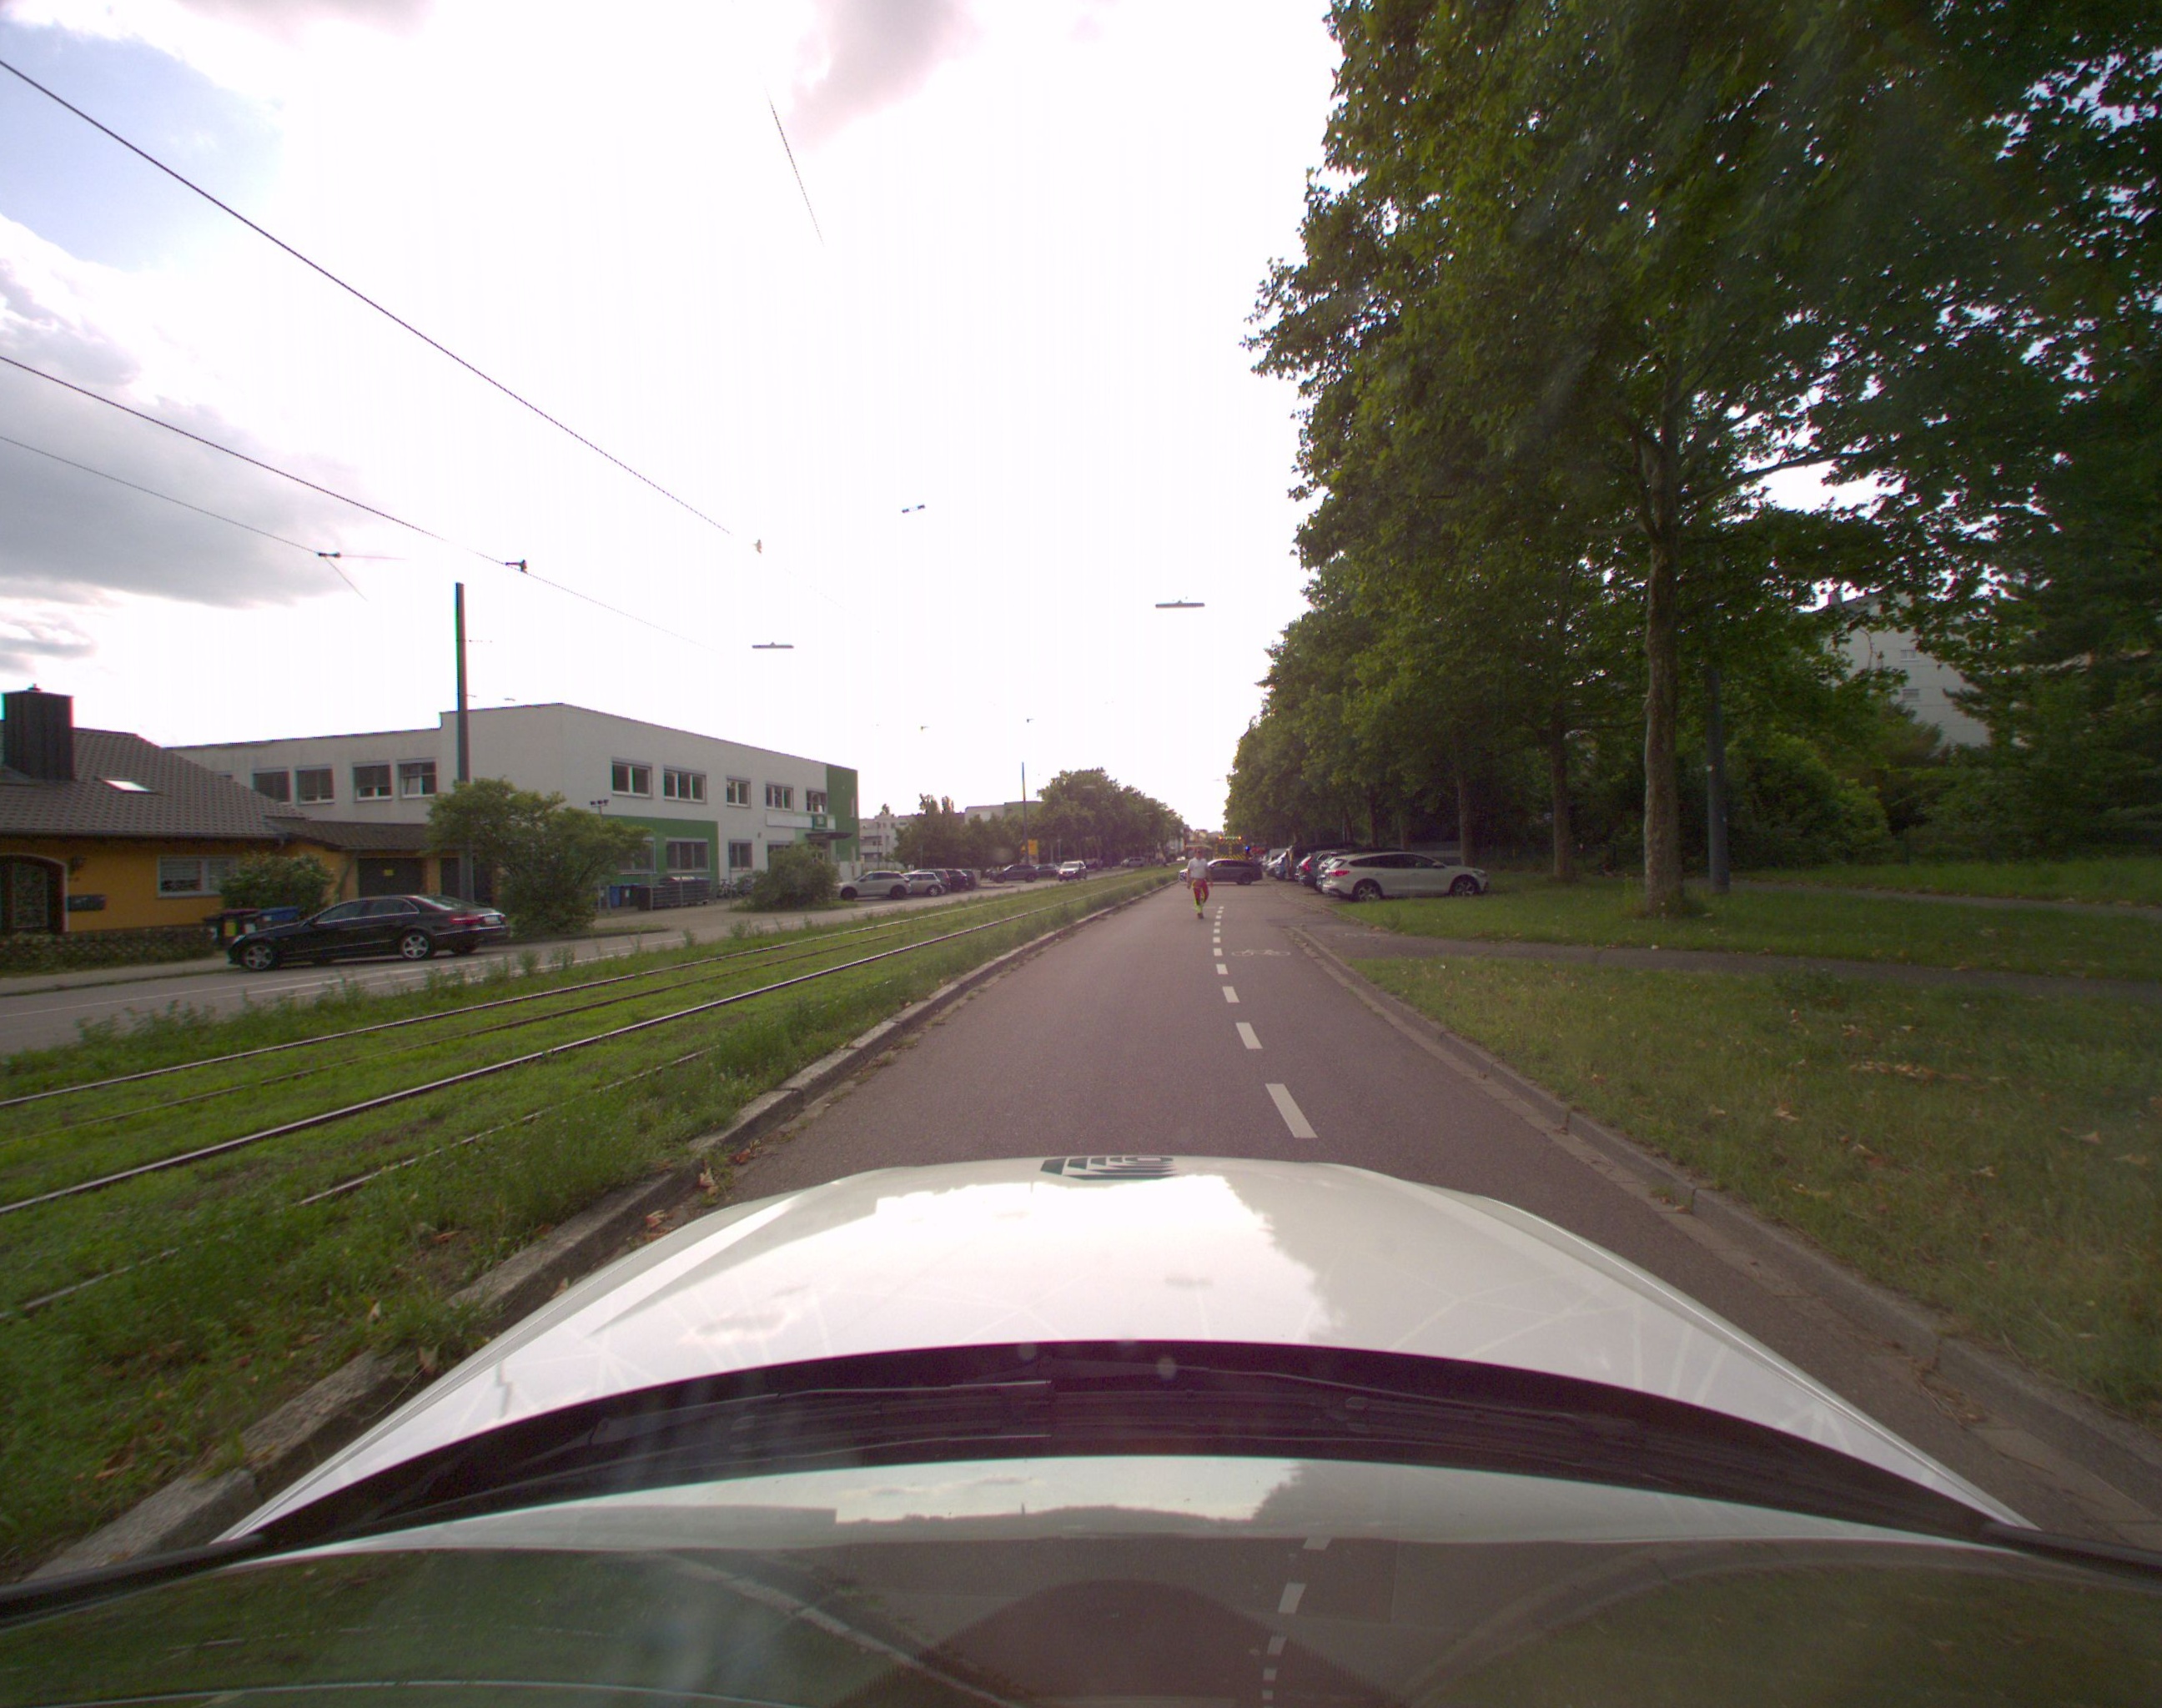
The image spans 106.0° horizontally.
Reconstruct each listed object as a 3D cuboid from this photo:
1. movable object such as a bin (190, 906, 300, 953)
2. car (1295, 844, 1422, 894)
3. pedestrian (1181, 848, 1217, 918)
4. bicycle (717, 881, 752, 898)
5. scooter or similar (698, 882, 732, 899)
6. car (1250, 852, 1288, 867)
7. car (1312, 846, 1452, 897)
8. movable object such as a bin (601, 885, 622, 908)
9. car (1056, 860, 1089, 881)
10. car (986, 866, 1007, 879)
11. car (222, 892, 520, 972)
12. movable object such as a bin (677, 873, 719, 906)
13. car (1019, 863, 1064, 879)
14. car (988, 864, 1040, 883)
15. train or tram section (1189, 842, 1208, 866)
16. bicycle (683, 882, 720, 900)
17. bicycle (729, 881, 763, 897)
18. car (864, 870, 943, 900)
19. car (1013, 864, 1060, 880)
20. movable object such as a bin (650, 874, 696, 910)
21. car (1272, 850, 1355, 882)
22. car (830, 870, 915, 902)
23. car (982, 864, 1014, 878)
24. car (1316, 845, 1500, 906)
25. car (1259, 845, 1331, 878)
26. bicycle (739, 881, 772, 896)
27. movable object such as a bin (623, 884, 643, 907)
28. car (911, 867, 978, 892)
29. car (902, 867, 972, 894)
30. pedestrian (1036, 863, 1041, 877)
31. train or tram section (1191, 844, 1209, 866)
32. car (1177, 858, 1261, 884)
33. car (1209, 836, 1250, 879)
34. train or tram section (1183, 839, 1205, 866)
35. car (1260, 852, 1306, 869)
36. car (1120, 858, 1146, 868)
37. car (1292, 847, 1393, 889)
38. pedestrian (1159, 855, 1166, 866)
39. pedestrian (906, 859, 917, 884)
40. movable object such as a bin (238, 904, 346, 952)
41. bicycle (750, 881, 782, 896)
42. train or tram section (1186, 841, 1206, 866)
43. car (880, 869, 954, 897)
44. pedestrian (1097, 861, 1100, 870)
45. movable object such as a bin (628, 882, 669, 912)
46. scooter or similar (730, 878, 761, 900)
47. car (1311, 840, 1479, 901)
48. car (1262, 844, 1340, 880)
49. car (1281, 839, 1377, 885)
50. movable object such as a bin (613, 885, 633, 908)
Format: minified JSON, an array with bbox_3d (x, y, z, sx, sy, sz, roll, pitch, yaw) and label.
[{"bbox_3d":[-22.580,2.025,22.044,1.246,1.092,1.622,-2,0,10],"label":"movable object such as a bin"},{"bbox_3d":[10.535,0.567,31.220,4.351,1.639,1.762,-3,-1,12],"label":"car"},{"bbox_3d":[2.956,0.710,20.335,0.798,1.686,0.853,-2,-1,11],"label":"pedestrian"},{"bbox_3d":[-19.613,2.010,46.087,1.846,0.899,0.460,-1,-1,11],"label":"bicycle"},{"bbox_3d":[-20.030,2.004,44.607,1.724,0.899,0.460,-1,-1,11],"label":"scooter or similar"},{"bbox_3d":[23.870,0.739,103.642,4.521,1.608,1.859,-3,-1,6],"label":"car"},{"bbox_3d":[10.430,0.601,28.544,4.351,1.501,1.762,-3,-1,12],"label":"car"},{"bbox_3d":[-21.744,1.970,37.721,0.564,1.042,0.566,-1,0,11],"label":"movable object such as a bin"},{"bbox_3d":[-0.682,1.395,69.804,1.981,1.558,4.382,-4,-1,10],"label":"car"},{"bbox_3d":[-12.481,2.720,120.651,1.981,1.750,4.012,0,0,11],"label":"car"},{"bbox_3d":[-15.520,1.666,18.077,4.635,1.407,1.877,-2,-2,-10],"label":"car"},{"bbox_3d":[-18.232,1.678,38.832,0.999,1.519,1.610,-1,1,13],"label":"movable object such as a bin"},{"bbox_3d":[-4.050,1.730,83.367,4.242,1.482,1.868,-1,-1,-25],"label":"car"},{"bbox_3d":[-5.767,1.674,70.378,4.227,1.482,1.874,-1,-1,-14],"label":"car"},{"bbox_3d":[18.788,0.113,130.203,2.496,3.584,7.466,-4,-2,10],"label":"train or tram section"},{"bbox_3d":[-20.092,1.957,43.097,1.846,0.986,0.460,-1,-1,11],"label":"bicycle"},{"bbox_3d":[-19.419,2.030,47.219,1.846,0.899,0.460,-1,-1,11],"label":"bicycle"},{"bbox_3d":[-10.325,1.774,47.348,4.234,1.482,1.871,-2,-1,-19],"label":"car"},{"bbox_3d":[-4.410,1.751,80.405,4.242,1.482,1.868,-1,-1,-25],"label":"car"},{"bbox_3d":[-18.598,1.706,37.169,0.999,1.519,1.718,-1,1,13],"label":"movable object such as a bin"},{"bbox_3d":[13.921,0.722,48.967,4.522,1.660,1.859,-3,-1,6],"label":"car"},{"bbox_3d":[-11.339,1.710,44.319,4.240,1.482,1.868,-2,-1,-24],"label":"car"},{"bbox_3d":[-10.721,2.201,105.591,3.949,1.750,2.012,0,0,42],"label":"car"},{"bbox_3d":[9.425,0.610,23.791,4.633,1.473,1.851,-3,-1,7],"label":"car"},{"bbox_3d":[14.695,0.518,56.099,4.521,2.043,1.859,-3,-1,6],"label":"car"},{"bbox_3d":[-19.237,2.046,48.104,1.846,0.899,0.460,-1,-1,11],"label":"bicycle"},{"bbox_3d":[-21.463,1.974,39.014,0.564,1.042,0.566,-1,0,11],"label":"movable object such as a bin"},{"bbox_3d":[-9.437,1.753,56.252,4.234,1.482,1.871,-2,-1,-19],"label":"car"},{"bbox_3d":[-9.415,1.717,53.132,4.234,1.482,1.871,-2,-1,-19],"label":"car"},{"bbox_3d":[-5.209,1.933,100.706,0.463,1.677,0.605,-2,-1,9],"label":"pedestrian"},{"bbox_3d":[20.158,0.242,137.505,2.496,3.584,7.466,-4,-2,10],"label":"train or tram section"},{"bbox_3d":[7.715,0.938,45.752,4.440,1.385,1.766,0,0,-2],"label":"car"},{"bbox_3d":[10.800,0.255,58.887,2.623,2.966,6.320,1,0,12],"label":"car"},{"bbox_3d":[16.061,-0.145,115.536,2.496,3.584,7.466,-4,-2,10],"label":"train or tram section"},{"bbox_3d":[21.229,0.680,85.683,4.521,1.608,1.859,-3,-1,6],"label":"car"},{"bbox_3d":[10.150,1.762,158.018,4.640,1.633,1.866,-2,-1,-29],"label":"car"},{"bbox_3d":[11.709,0.622,36.636,3.953,1.605,1.756,-3,-1,0],"label":"car"},{"bbox_3d":[11.169,0.907,111.911,0.875,1.525,0.753,-1,-1,10],"label":"pedestrian"},{"bbox_3d":[-12.591,1.306,60.502,0.543,1.828,0.510,-2,-1,9],"label":"pedestrian"},{"bbox_3d":[-21.134,1.961,21.861,1.246,1.101,1.622,-2,0,10],"label":"movable object such as a bin"},{"bbox_3d":[-18.988,2.055,49.136,1.846,0.899,0.460,-1,-1,11],"label":"bicycle"},{"bbox_3d":[17.419,-0.016,122.864,2.496,3.584,7.466,-4,-2,10],"label":"train or tram section"},{"bbox_3d":[-10.096,1.775,50.192,4.234,1.482,1.871,-2,-1,-19],"label":"car"},{"bbox_3d":[2.837,1.901,132.573,0.419,1.473,0.468,-2,-1,6],"label":"pedestrian"},{"bbox_3d":[-18.937,1.856,35.664,0.999,1.234,1.261,-1,0,13],"label":"movable object such as a bin"},{"bbox_3d":[-18.314,1.879,44.487,1.290,1.156,1.101,-1,-2,39],"label":"scooter or similar"},{"bbox_3d":[9.899,0.525,25.976,4.633,1.626,1.851,-3,-1,7],"label":"car"},{"bbox_3d":[13.874,0.505,51.564,4.521,2.001,1.859,-3,-1,6],"label":"car"},{"bbox_3d":[12.871,0.407,42.559,4.517,2.123,1.861,-3,-1,10],"label":"car"},{"bbox_3d":[-21.589,1.981,38.360,0.564,1.042,0.566,-1,0,11],"label":"movable object such as a bin"}]
